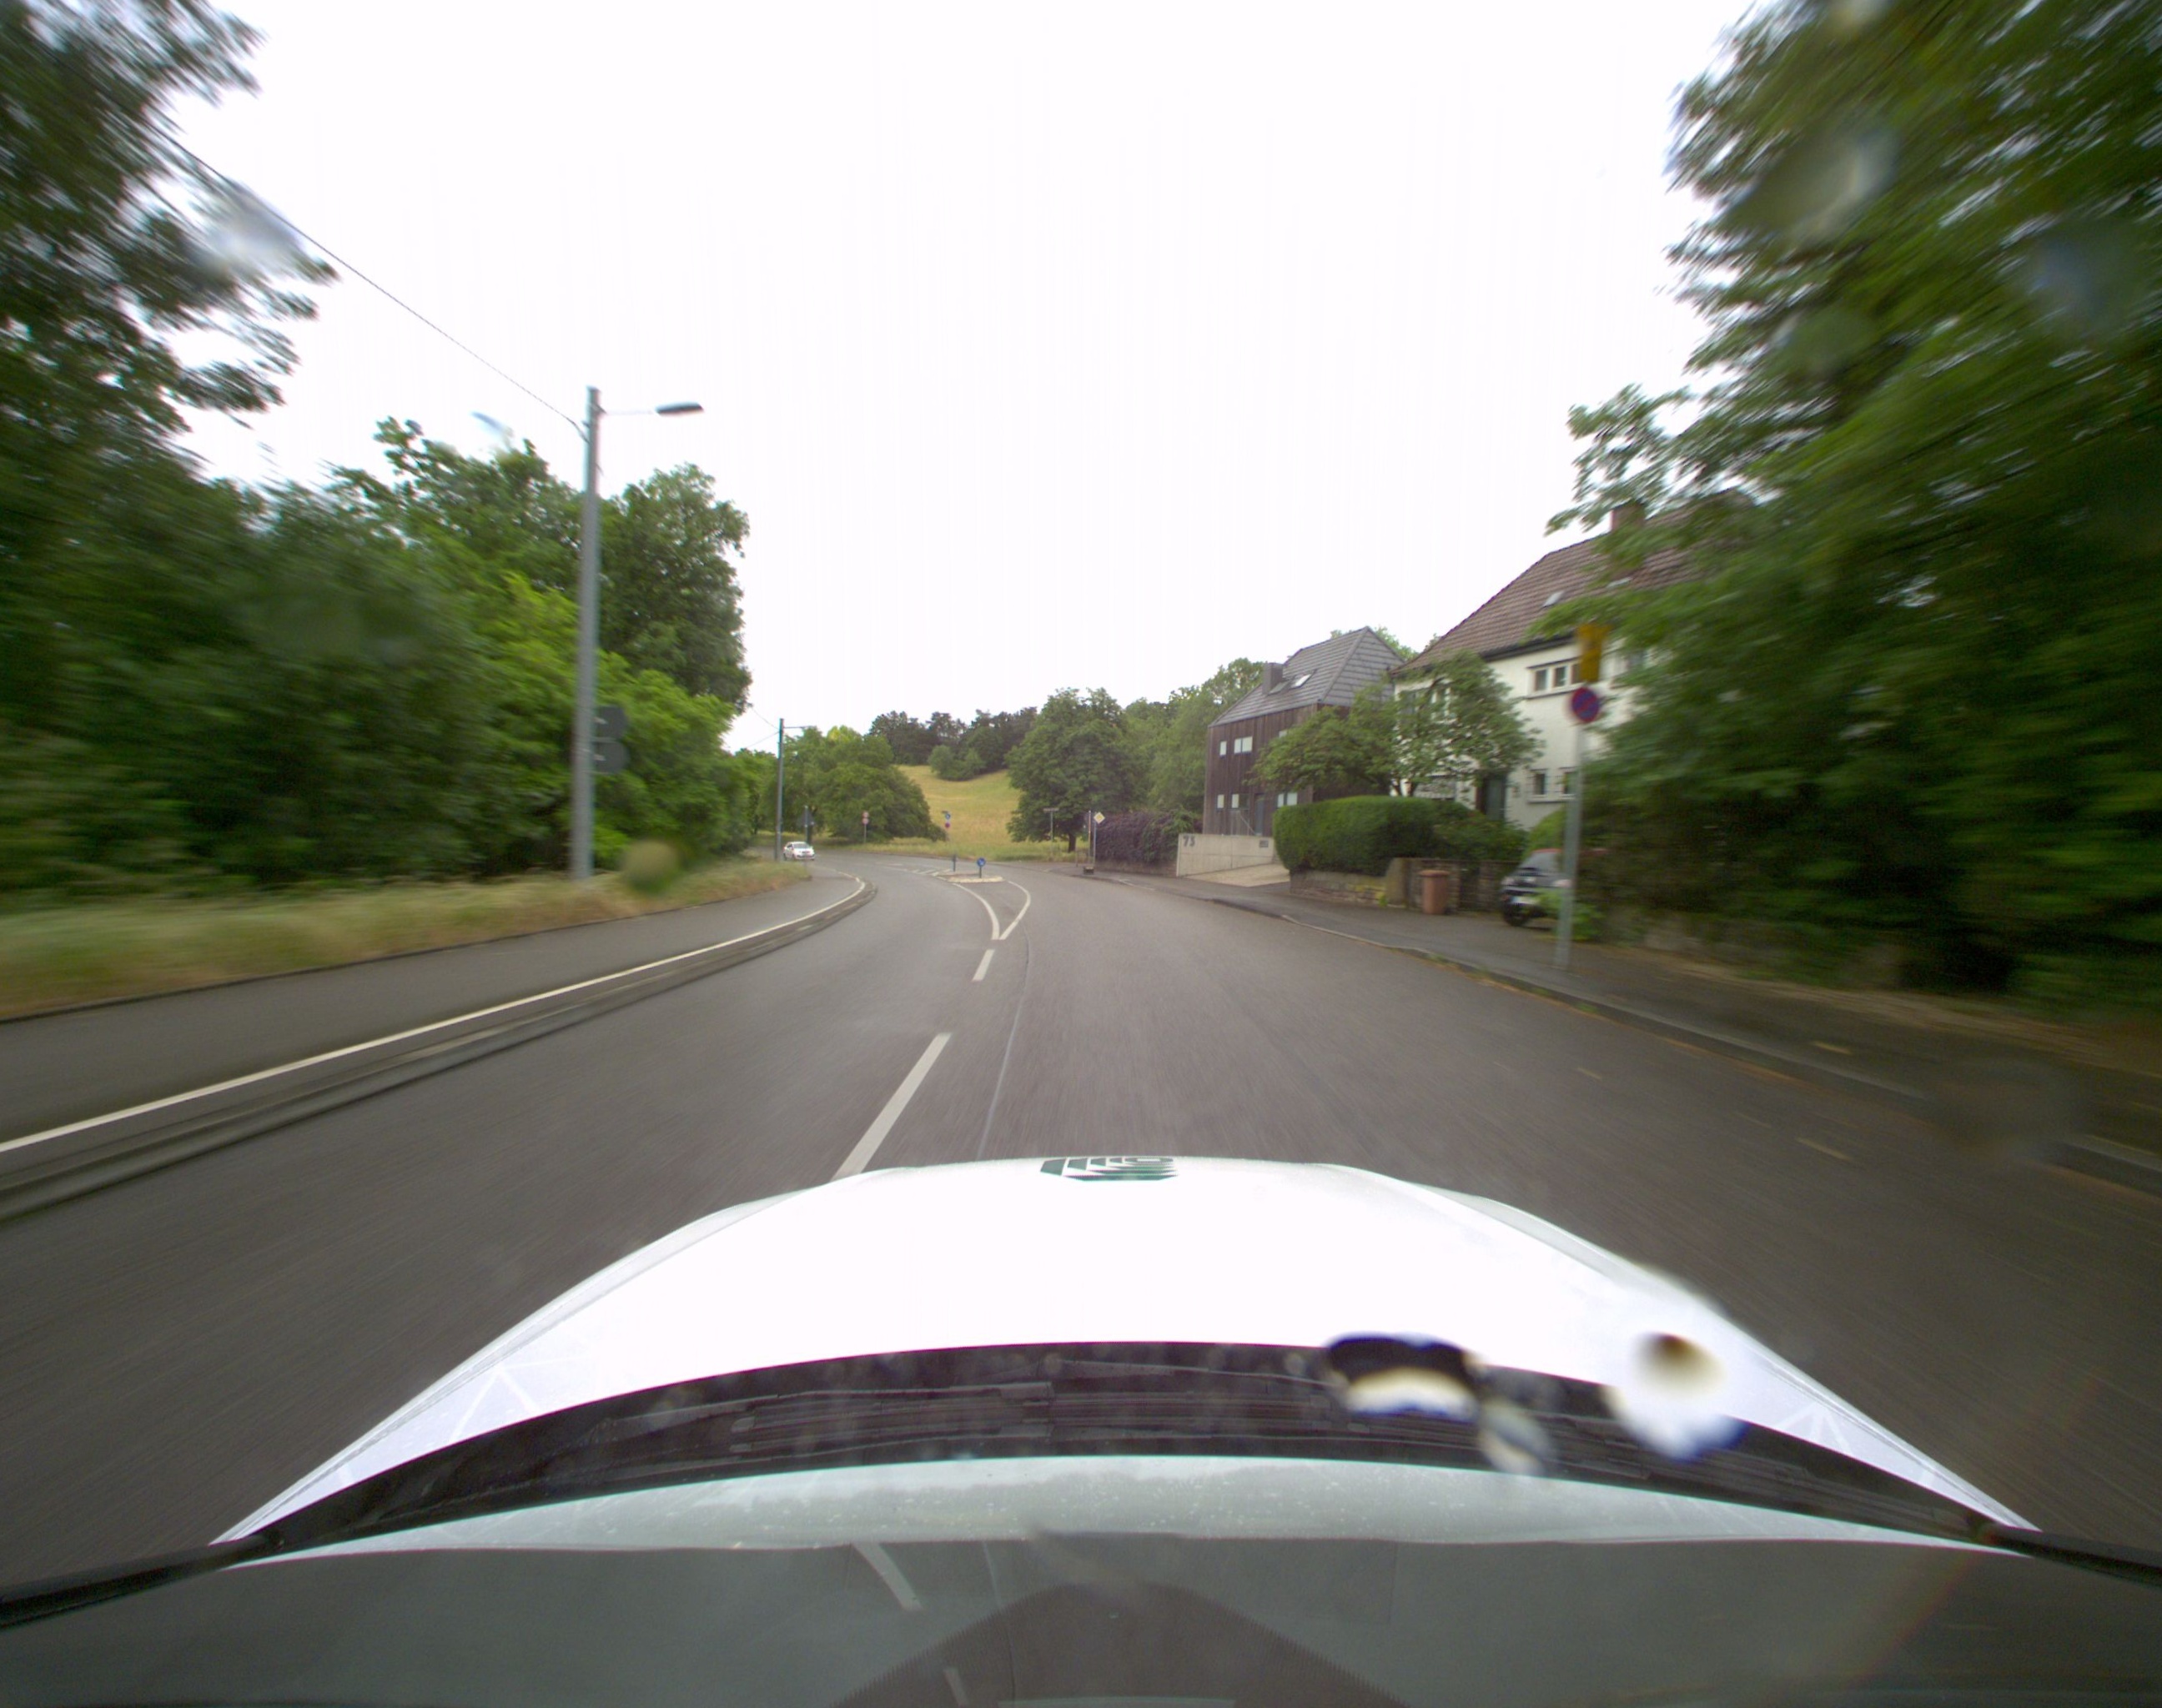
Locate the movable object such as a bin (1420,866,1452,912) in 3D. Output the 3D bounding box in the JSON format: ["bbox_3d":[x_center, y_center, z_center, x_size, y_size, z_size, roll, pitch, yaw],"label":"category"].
[{"bbox_3d":[7.350,0.724,16.884,0.418,0.920,0.462,0,0,-9],"label":"movable object such as a bin"}]

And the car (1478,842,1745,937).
[{"bbox_3d":[9.485,0.624,14.650,3.993,1.496,1.764,2,1,-15],"label":"car"}]

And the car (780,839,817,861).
[{"bbox_3d":[-22.670,-0.335,65.278,1.806,1.485,3.960,-4,5,-33],"label":"car"}]
